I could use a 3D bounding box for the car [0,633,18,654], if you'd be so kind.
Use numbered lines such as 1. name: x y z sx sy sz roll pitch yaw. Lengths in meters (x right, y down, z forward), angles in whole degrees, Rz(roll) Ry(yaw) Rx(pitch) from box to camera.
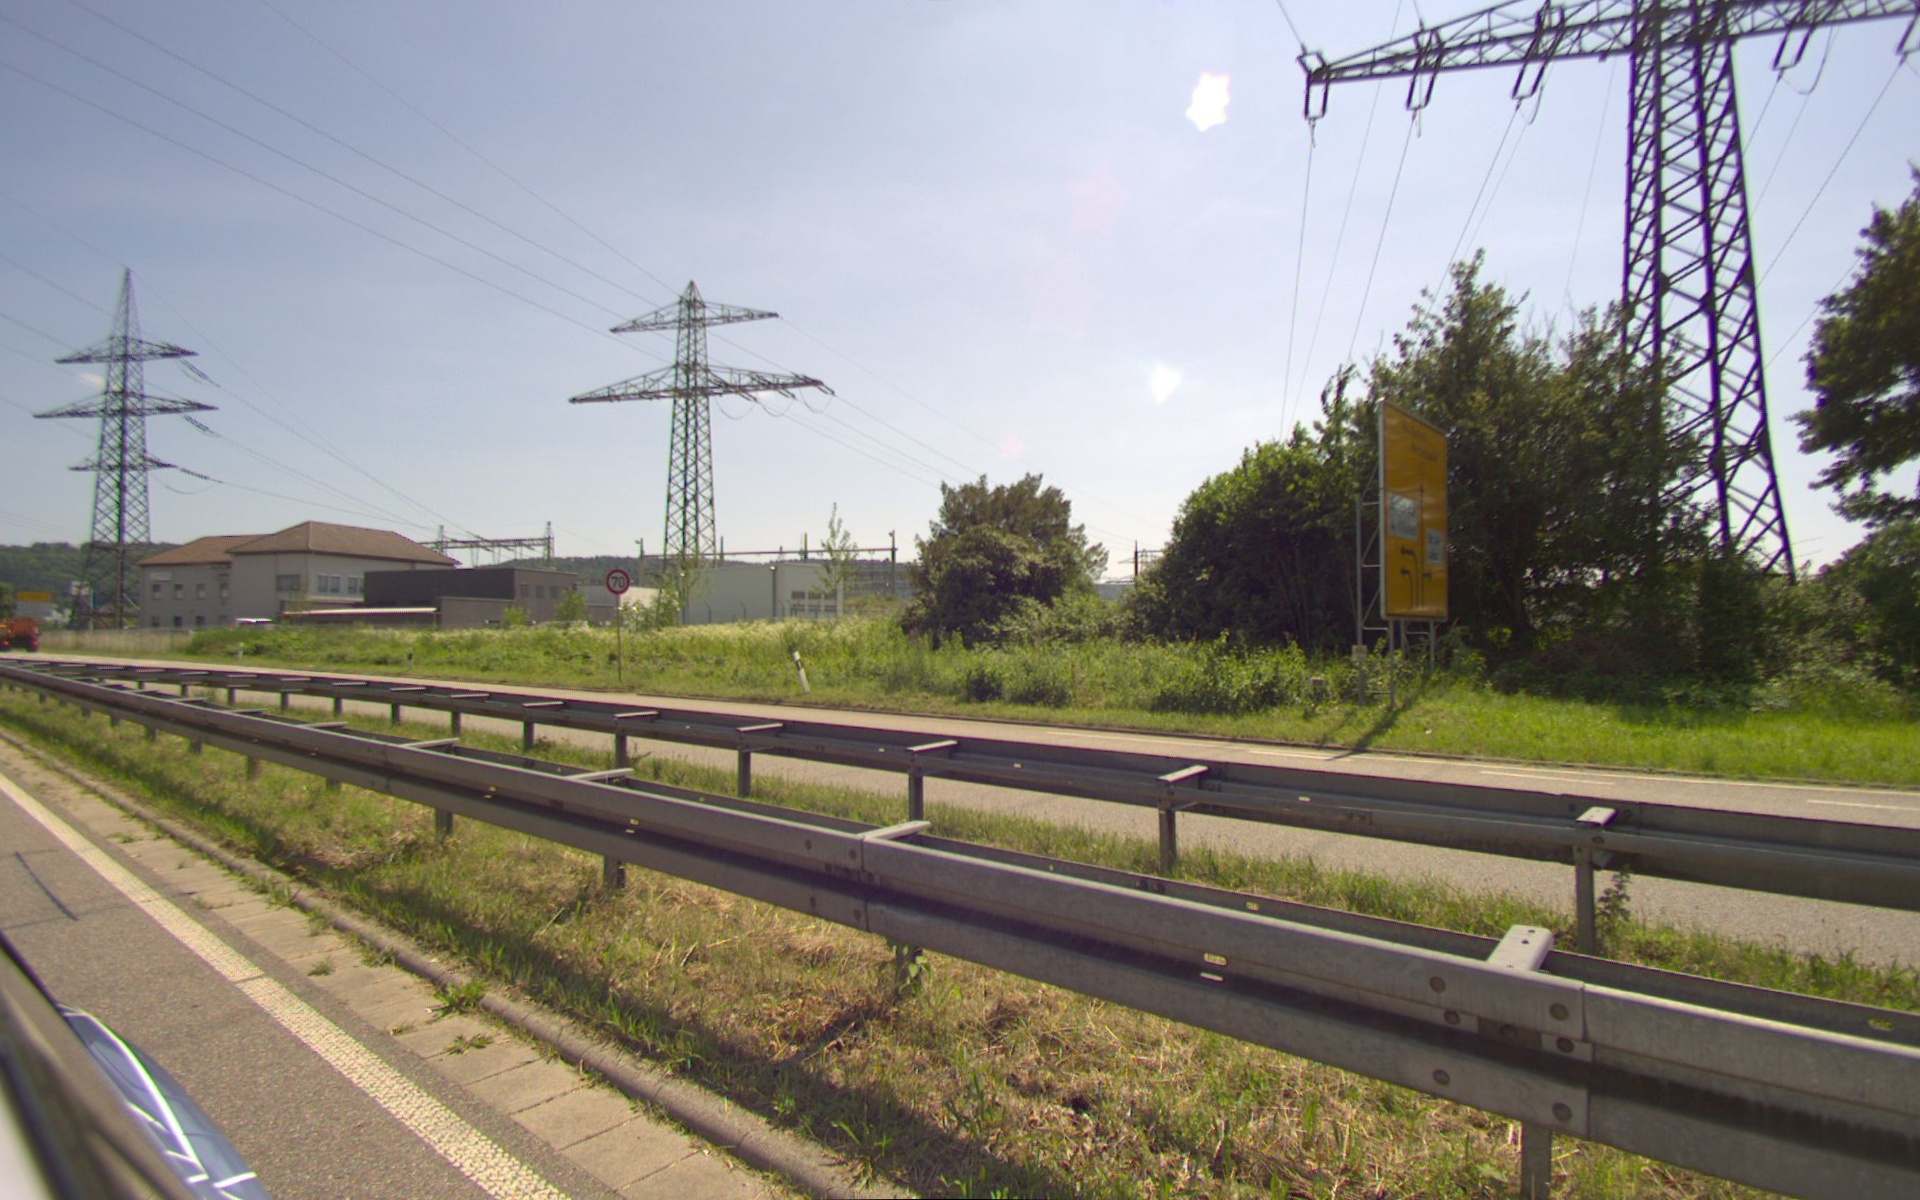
1. car: -94.610 4.265 99.723 3.993 1.929 1.975 -1 0 37

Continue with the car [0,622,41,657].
1. car: -86.271 3.636 92.492 5.635 3.084 2.573 -2 -3 40
